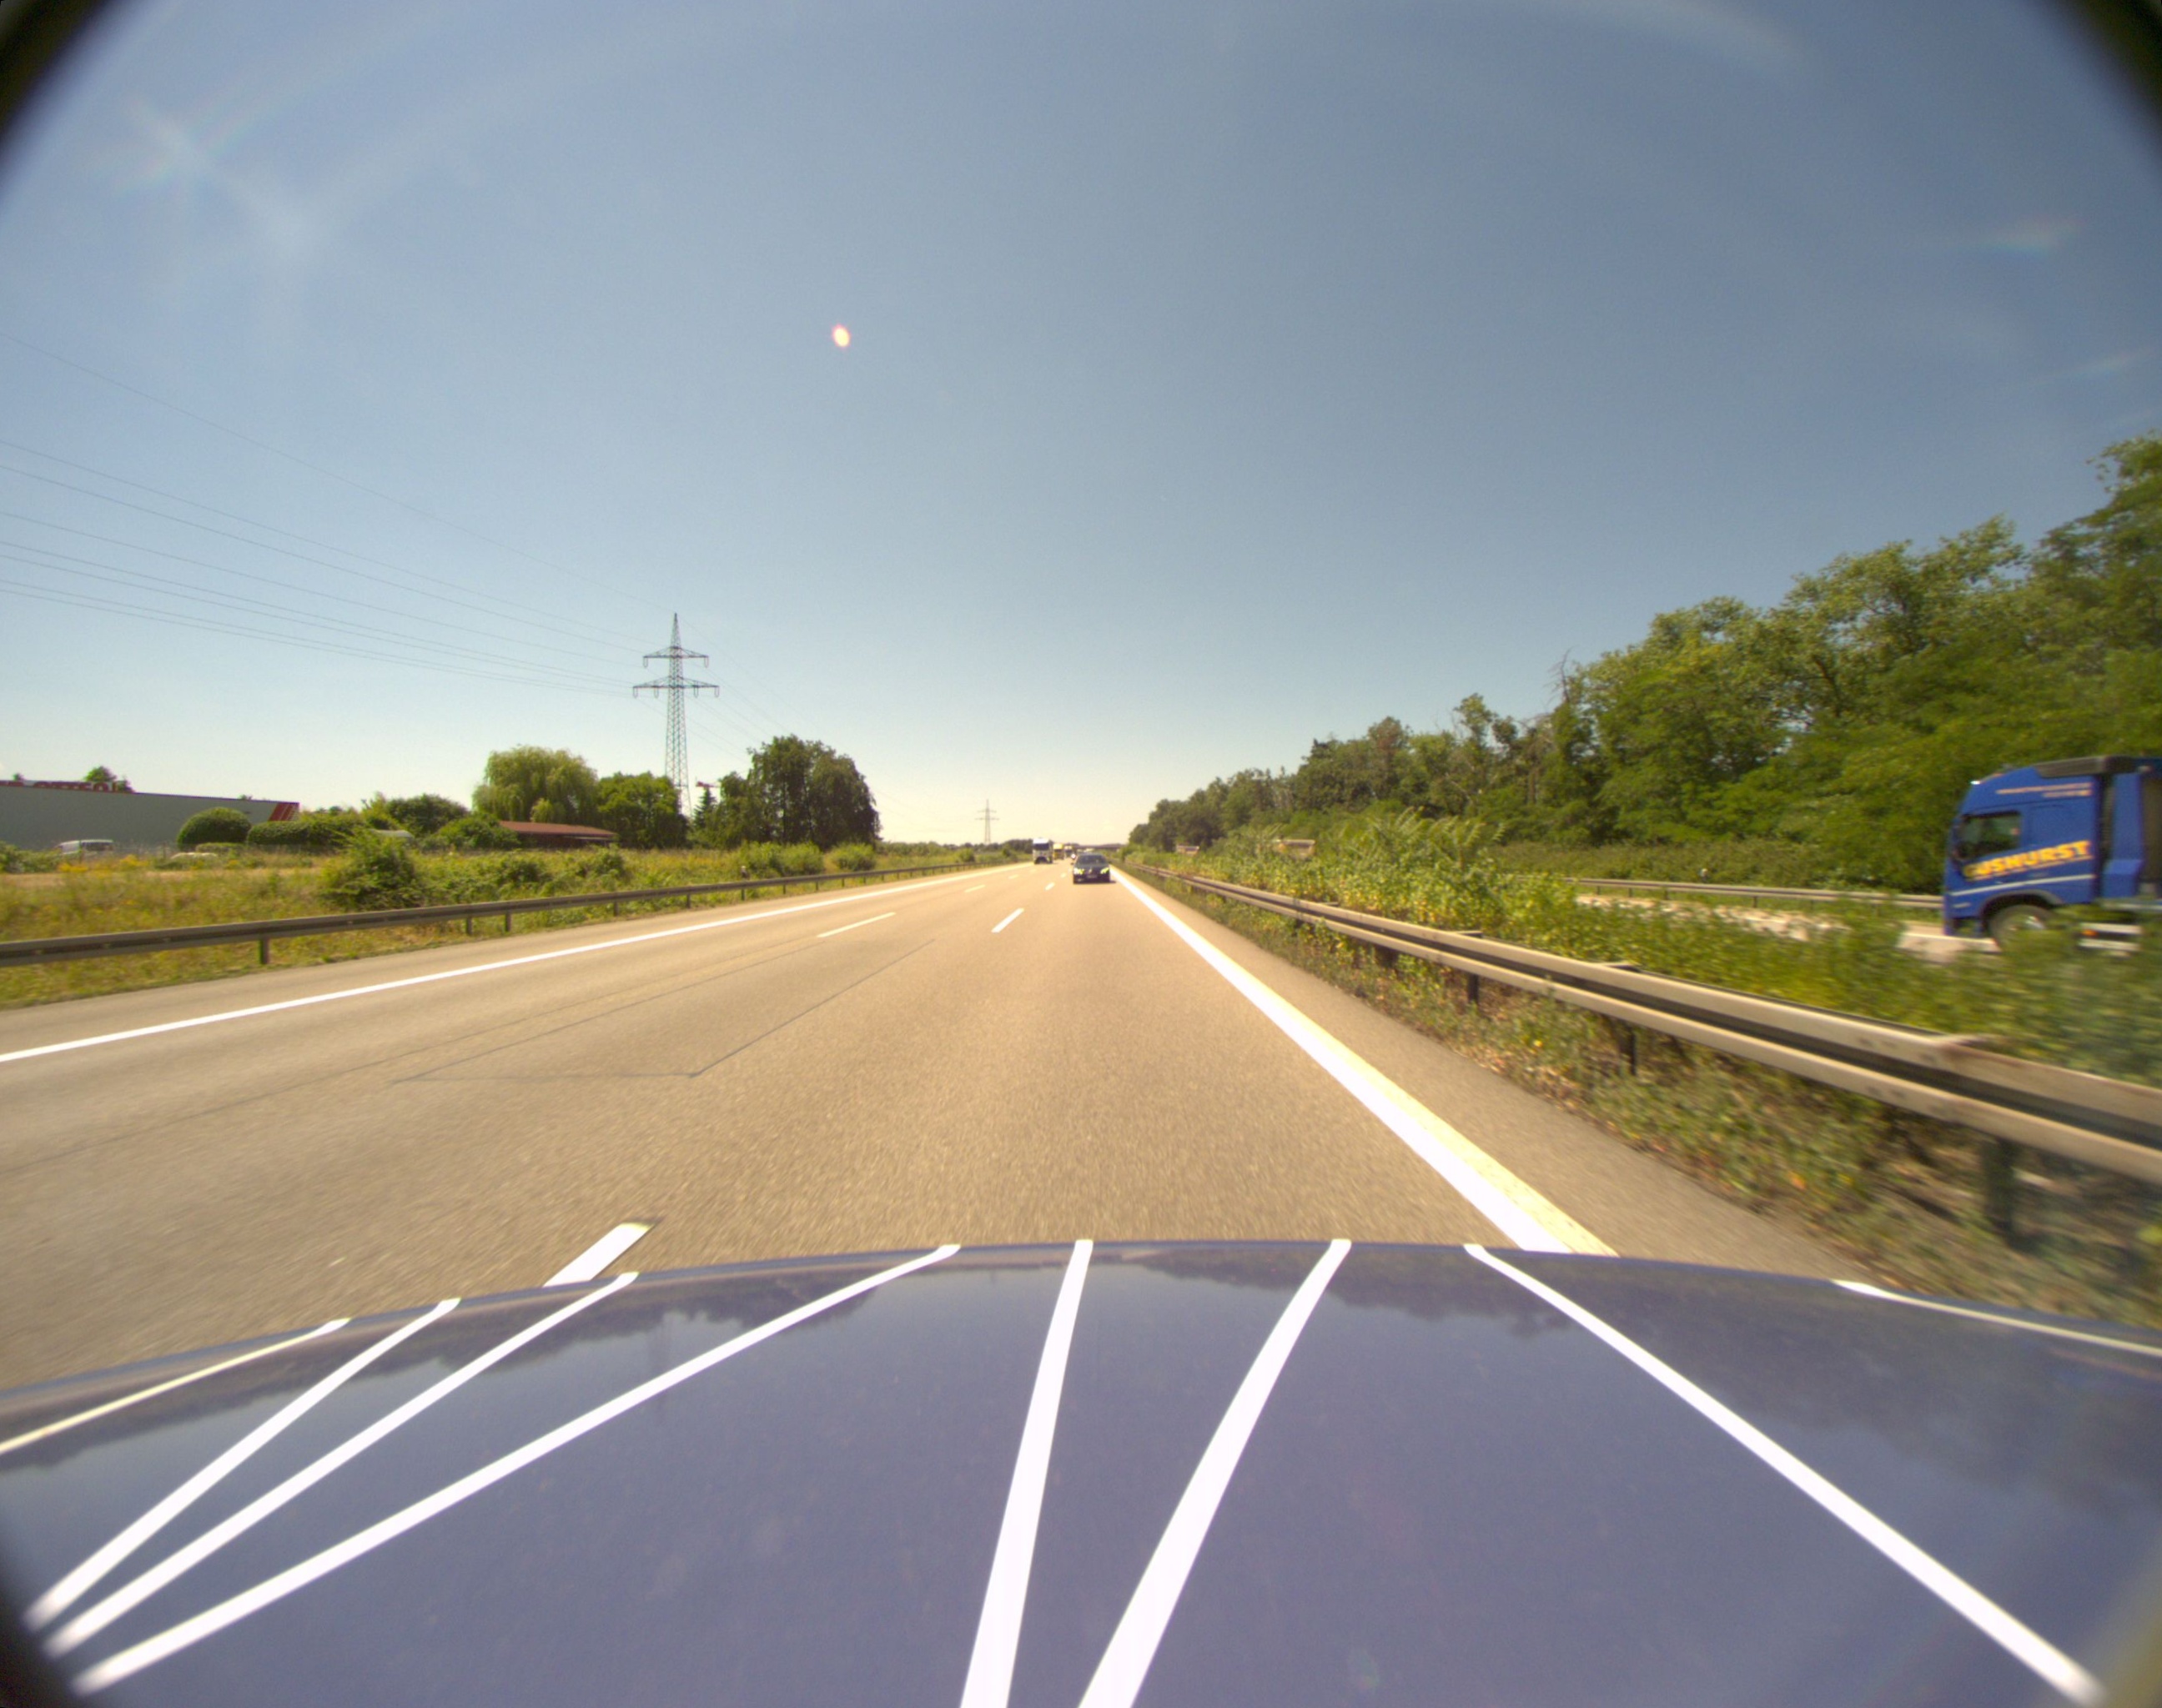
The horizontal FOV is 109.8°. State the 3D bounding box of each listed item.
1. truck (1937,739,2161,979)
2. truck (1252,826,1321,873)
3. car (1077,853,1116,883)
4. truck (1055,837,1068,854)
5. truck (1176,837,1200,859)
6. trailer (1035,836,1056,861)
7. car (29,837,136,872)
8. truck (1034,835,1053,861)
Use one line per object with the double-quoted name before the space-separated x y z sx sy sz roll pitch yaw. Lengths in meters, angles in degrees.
"truck" 16.717 0.126 7.605 2.794 3.413 11.980 1 1 1
"truck" 17.867 -0.374 67.075 2.907 3.684 11.898 1 0 1
"car" 0.745 0.669 38.629 1.808 1.385 3.999 -2 1 0
"truck" -4.878 -2.124 191.356 2.978 4.240 12.609 0 1 0
"truck" 18.830 -1.036 133.973 2.544 3.613 11.843 1 1 1
"trailer" -5.749 -0.981 125.222 2.573 3.871 13.278 -2 1 0
"car" -64.312 0.012 48.988 3.998 2.002 1.999 -2 1 -3
"truck" -5.787 -0.918 118.810 2.573 3.871 5.722 -2 1 0
